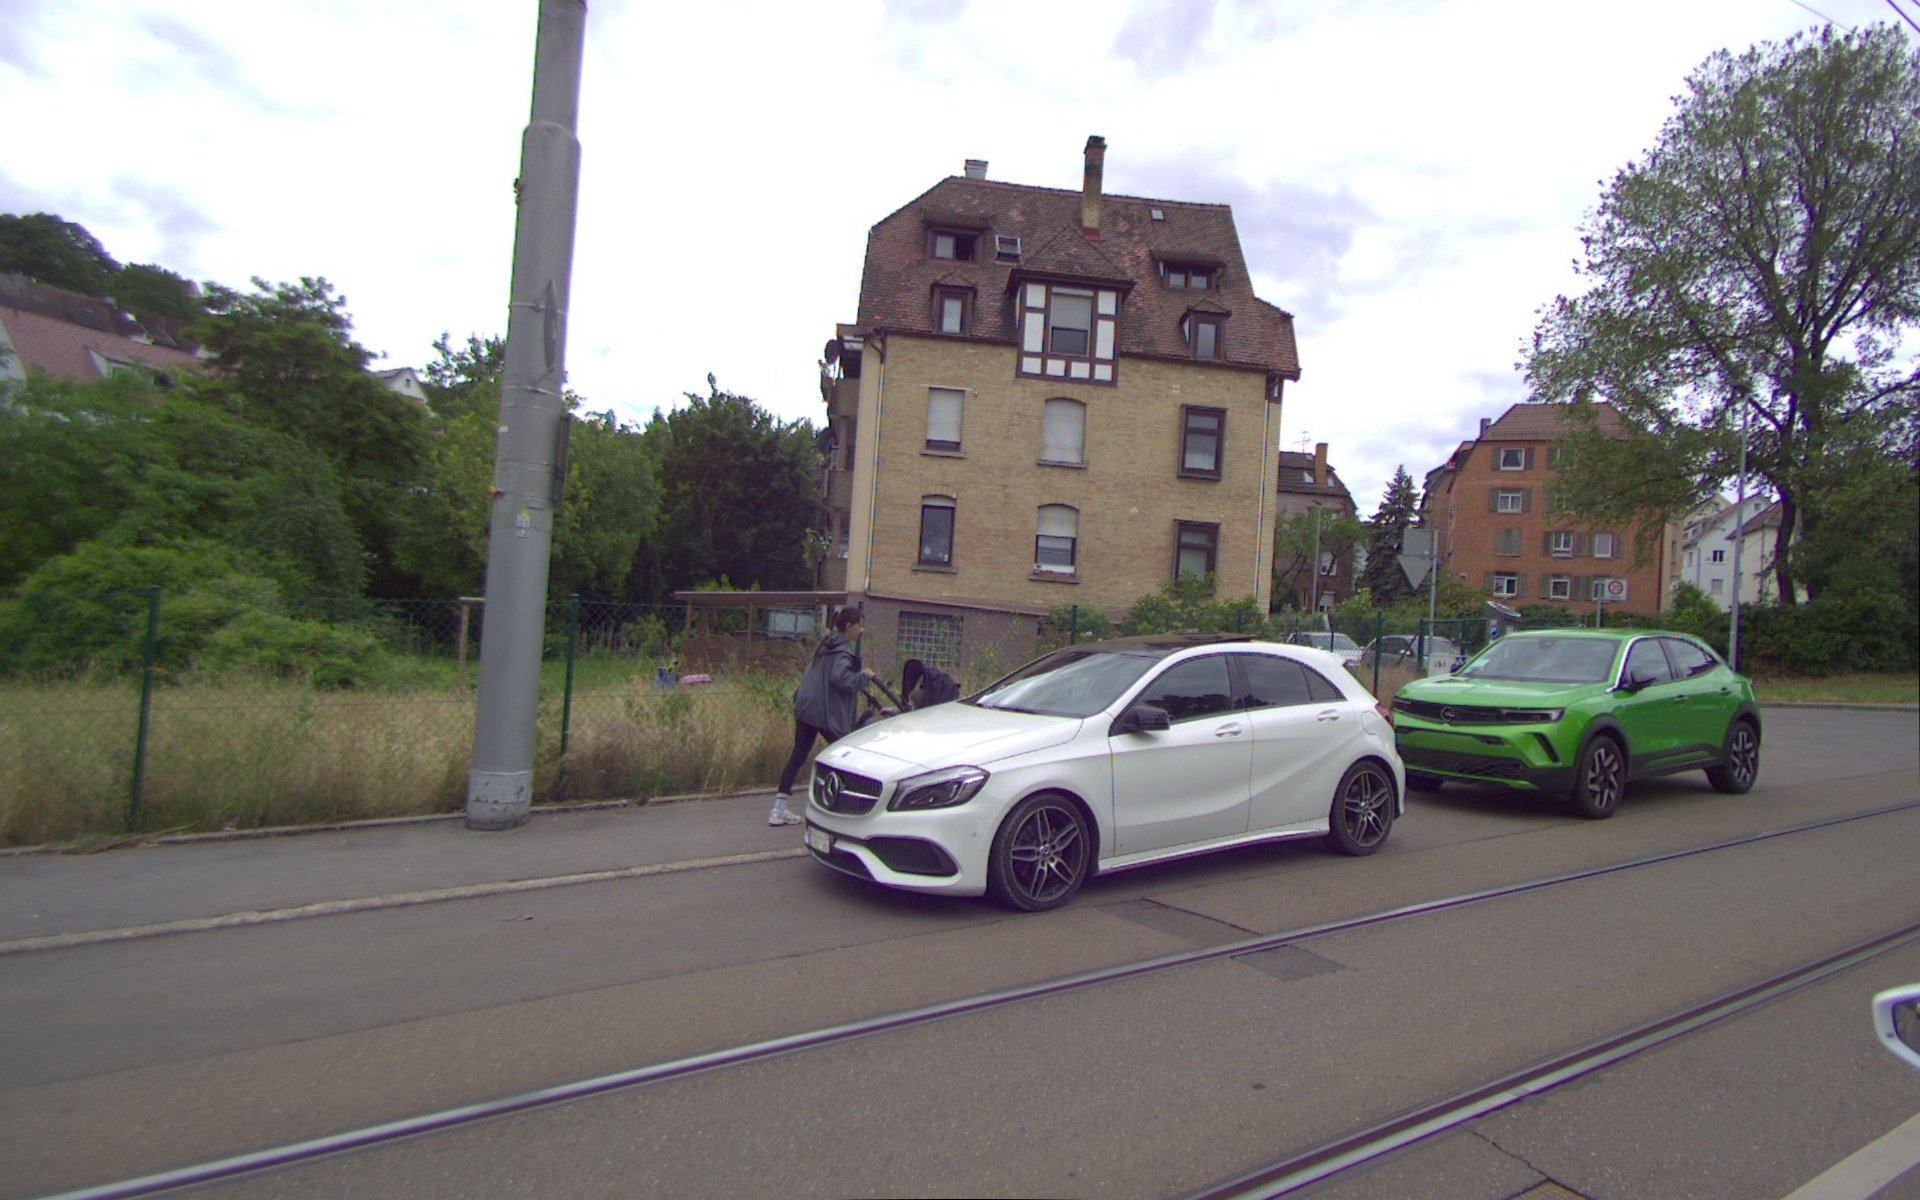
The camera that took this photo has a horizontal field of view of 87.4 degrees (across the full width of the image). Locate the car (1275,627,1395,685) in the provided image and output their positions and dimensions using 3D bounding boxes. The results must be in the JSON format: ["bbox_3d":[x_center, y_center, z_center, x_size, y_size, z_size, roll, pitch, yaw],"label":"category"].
[{"bbox_3d":[11.422,1.676,30.927,1.962,1.514,3.998,2,-1,-4],"label":"car"}]

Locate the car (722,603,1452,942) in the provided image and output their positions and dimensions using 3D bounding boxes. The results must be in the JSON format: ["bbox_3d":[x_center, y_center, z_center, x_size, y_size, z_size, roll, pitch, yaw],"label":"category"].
[{"bbox_3d":[0.980,0.882,6.608,4.610,1.546,1.876,2,-2,-31],"label":"car"}]

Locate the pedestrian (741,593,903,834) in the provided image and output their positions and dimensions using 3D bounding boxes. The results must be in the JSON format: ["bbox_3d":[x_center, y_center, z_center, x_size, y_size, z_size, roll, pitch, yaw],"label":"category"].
[{"bbox_3d":[-1.035,0.796,7.478,0.906,1.650,0.801,2,0,-30],"label":"pedestrian"}]

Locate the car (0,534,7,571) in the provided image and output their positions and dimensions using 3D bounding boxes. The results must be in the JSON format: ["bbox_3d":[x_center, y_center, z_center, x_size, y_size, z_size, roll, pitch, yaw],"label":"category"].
[{"bbox_3d":[-44.818,-2.223,44.031,1.800,1.680,4.135,2,-1,9],"label":"car"}]

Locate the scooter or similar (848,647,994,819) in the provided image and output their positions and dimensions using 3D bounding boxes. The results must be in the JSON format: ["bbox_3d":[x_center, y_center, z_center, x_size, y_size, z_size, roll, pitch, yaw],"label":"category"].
[{"bbox_3d":[-0.313,1.006,7.893,0.830,1.212,0.800,2,0,-31],"label":"scooter or similar"}]

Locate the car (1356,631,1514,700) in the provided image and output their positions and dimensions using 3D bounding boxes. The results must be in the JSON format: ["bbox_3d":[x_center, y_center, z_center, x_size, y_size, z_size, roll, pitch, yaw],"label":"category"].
[{"bbox_3d":[11.796,1.572,25.257,1.854,1.437,3.998,2,-1,-4],"label":"car"}]

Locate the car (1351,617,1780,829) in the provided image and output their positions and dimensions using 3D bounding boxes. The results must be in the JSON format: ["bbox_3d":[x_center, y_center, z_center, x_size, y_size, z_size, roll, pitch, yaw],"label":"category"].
[{"bbox_3d":[5.738,0.998,9.406,4.132,1.600,1.715,2,-2,-31],"label":"car"}]
